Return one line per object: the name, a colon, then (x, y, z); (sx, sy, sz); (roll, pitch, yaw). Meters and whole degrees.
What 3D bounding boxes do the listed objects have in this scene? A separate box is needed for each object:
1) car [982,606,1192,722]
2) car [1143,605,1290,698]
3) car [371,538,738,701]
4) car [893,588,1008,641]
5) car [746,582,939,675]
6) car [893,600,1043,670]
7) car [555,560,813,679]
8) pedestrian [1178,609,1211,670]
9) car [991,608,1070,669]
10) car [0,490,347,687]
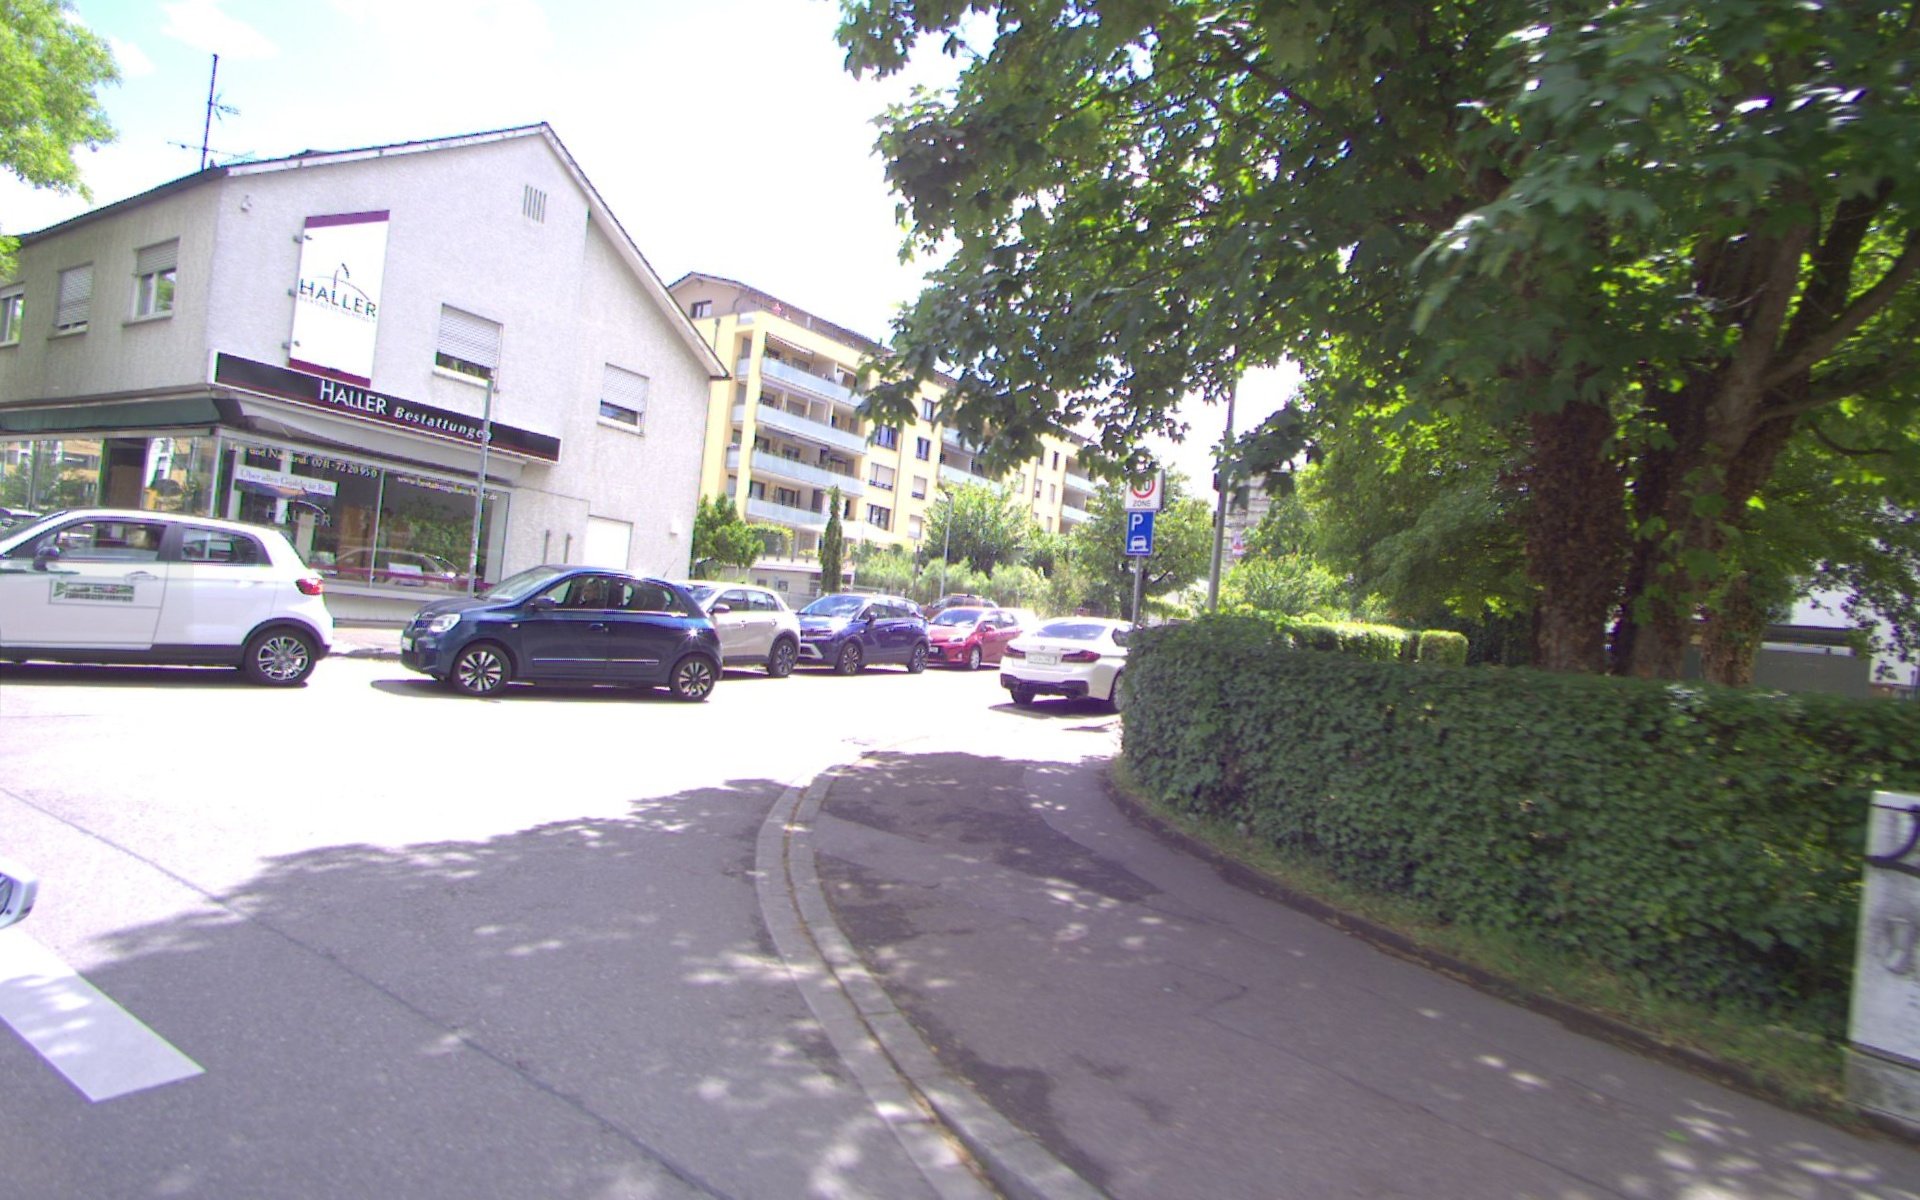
car: (2.321, 1.056, 17.143); (1.821, 1.523, 4.528); (7, 0, 30)
car: (5.864, 1.167, 22.647); (1.797, 1.734, 4.234); (6, 1, 33)
car: (-4.807, 0.282, 12.161); (3.622, 1.591, 1.820); (6, 0, -42)
car: (-0.386, 0.597, 41.023); (4.245, 1.768, 1.793); (5, 0, 27)
car: (-2.246, 0.598, 20.278); (1.880, 1.591, 3.914); (3, -1, 29)
car: (0.306, 0.893, 24.953); (1.766, 1.450, 4.310); (5, 0, 30)
car: (-4.305, 0.366, 16.327); (1.771, 1.538, 3.933); (7, 0, 26)
pedestrian: (7.727, 1.290, 33.213); (0.670, 1.938, 0.572); (7, -1, -12)
car: (1.941, 1.050, 28.860); (1.763, 1.450, 3.776); (5, 0, -2)
car: (-8.123, -0.118, 9.448); (1.818, 1.591, 3.628); (6, 0, 44)
